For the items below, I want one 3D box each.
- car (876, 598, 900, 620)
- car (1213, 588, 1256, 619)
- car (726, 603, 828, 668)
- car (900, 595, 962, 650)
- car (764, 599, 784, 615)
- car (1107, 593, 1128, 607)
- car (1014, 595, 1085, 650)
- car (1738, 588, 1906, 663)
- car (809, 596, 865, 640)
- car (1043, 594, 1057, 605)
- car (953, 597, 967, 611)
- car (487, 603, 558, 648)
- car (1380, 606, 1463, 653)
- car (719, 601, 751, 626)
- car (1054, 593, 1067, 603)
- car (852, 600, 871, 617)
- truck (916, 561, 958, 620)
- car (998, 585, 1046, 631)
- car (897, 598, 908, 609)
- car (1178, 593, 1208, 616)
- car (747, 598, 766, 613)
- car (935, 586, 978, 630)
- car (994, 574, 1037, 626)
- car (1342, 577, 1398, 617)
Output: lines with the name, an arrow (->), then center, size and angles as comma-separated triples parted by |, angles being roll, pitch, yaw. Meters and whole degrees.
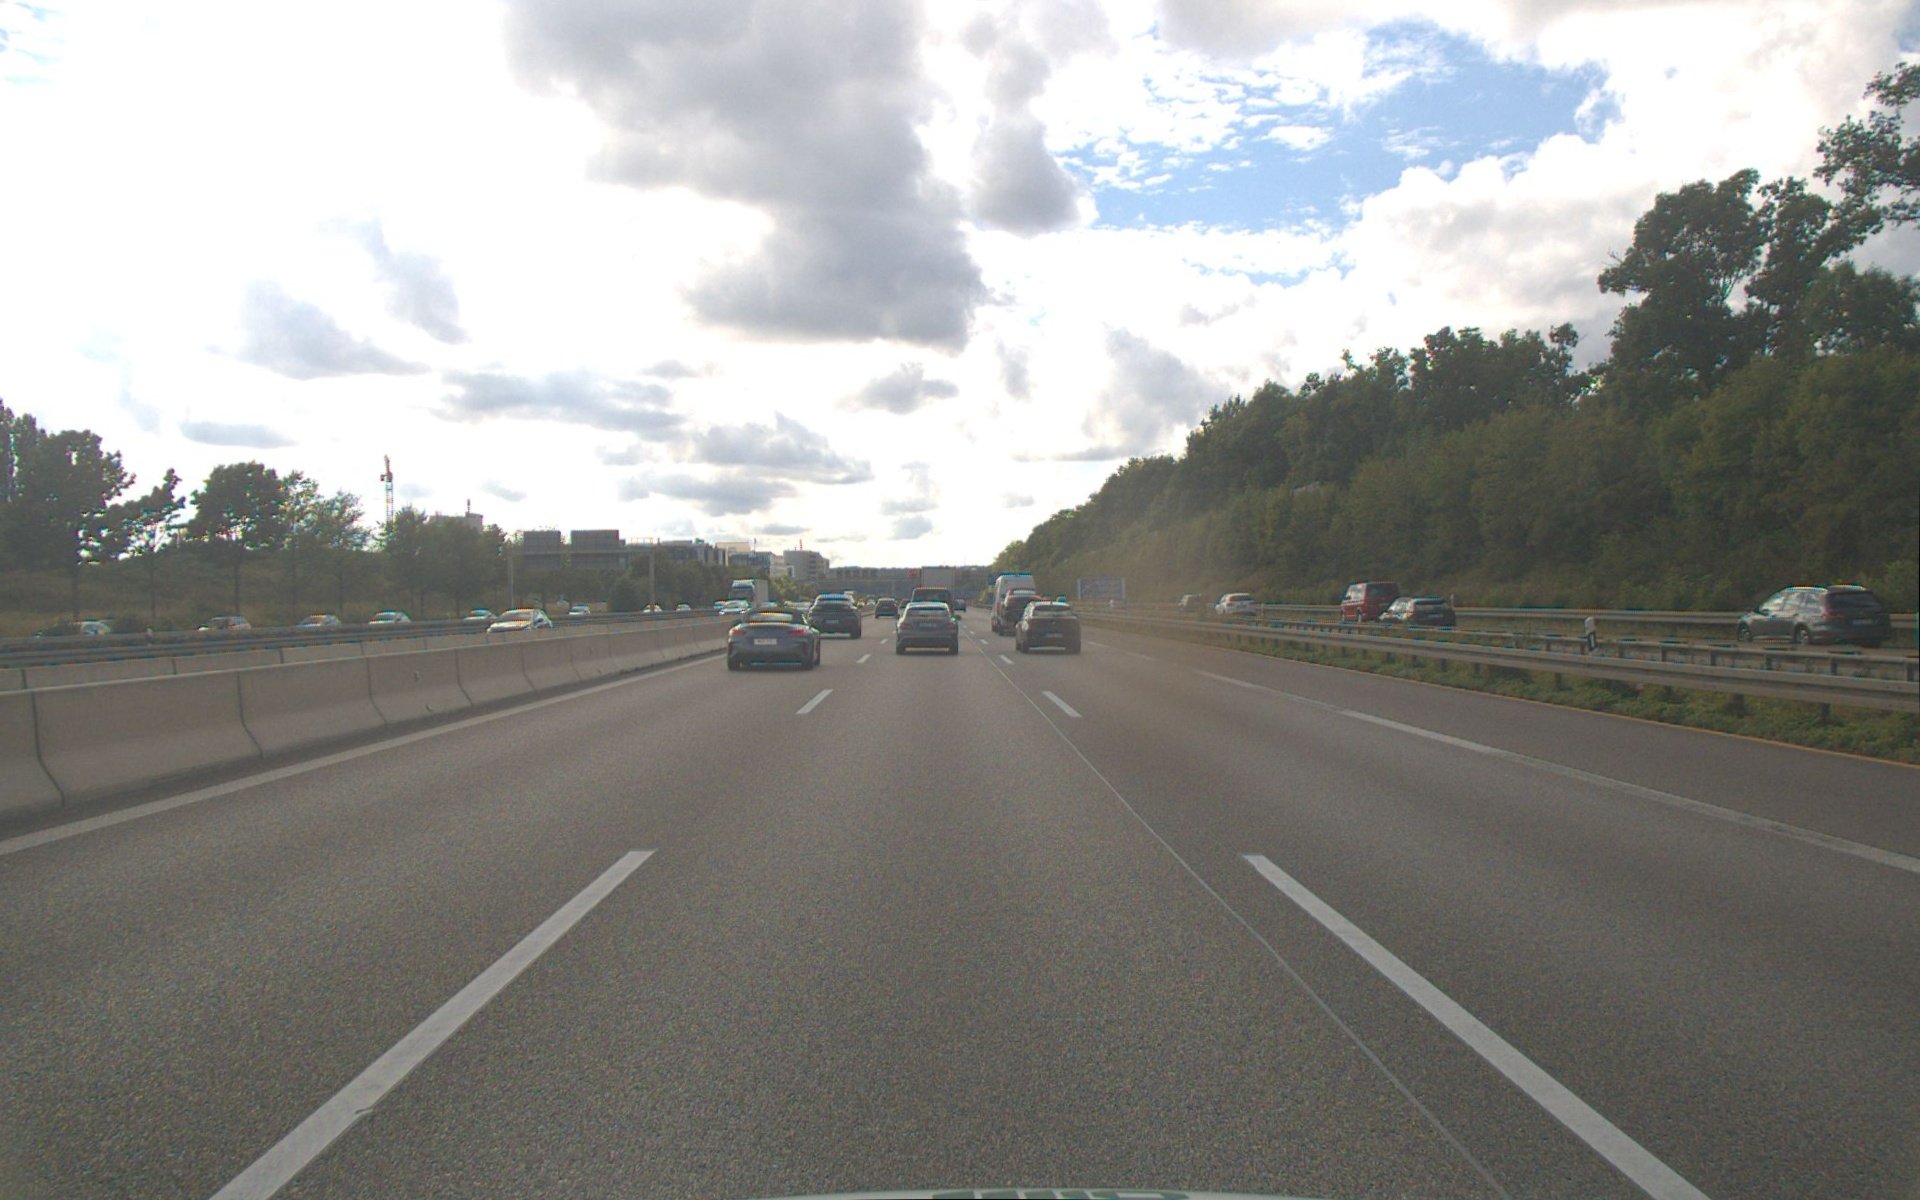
car -> -5.840, 0.745, 134.298 | 1.835, 1.728, 4.071 | 0, 0, -1
car -> 15.758, 0.178, 95.010 | 1.716, 1.725, 4.189 | 0, 0, -1
car -> -4.022, 0.739, 37.039 | 1.835, 1.325, 4.941 | 0, 0, -1
car -> -0.824, 0.599, 47.375 | 1.686, 1.505, 4.390 | 0, 0, -1
car -> -18.517, 0.680, 164.992 | 1.632, 1.583, 3.999 | 0, 0, -1
car -> 17.256, -0.026, 181.348 | 1.717, 1.543, 4.188 | 0, 0, -2
car -> 2.575, 0.632, 48.578 | 1.795, 1.547, 4.224 | 0, 0, -1
car -> 19.711, 0.548, 38.010 | 1.718, 1.624, 3.999 | 0, 0, -1
car -> -4.831, 0.689, 65.565 | 1.873, 1.664, 5.499 | 0, 0, -1
car -> 12.969, -0.058, 239.047 | 1.694, 1.560, 4.451 | -1, 0, -1
car -> -0.048, 0.533, 211.742 | 1.716, 1.725, 4.189 | 0, 0, -1
car -> -16.996, 0.961, 64.384 | 1.743, 1.674, 4.071 | 0, 0, -1
car -> 15.946, 0.995, 57.346 | 1.563, 1.573, 4.188 | 0, 0, -2
car -> -14.594, 0.877, 107.463 | 1.632, 1.583, 3.999 | 0, 0, -1
car -> 15.318, -0.246, 252.398 | 1.717, 1.543, 4.188 | 0, 0, -2
car -> -9.403, 0.800, 158.045 | 1.632, 1.583, 3.999 | 0, 0, -1
truck -> -1.818, -0.719, 130.434 | 3.197, 4.451, 11.024 | 1, 0, -1
car -> 2.649, 0.320, 71.681 | 1.874, 1.952, 4.029 | 0, 0, -1
car -> -8.719, 0.540, 252.672 | 1.632, 1.583, 3.999 | 0, 0, -1
car -> 18.108, 0.322, 128.617 | 1.716, 1.725, 4.189 | 0, 0, -1
car -> -21.427, 0.606, 174.122 | 1.633, 1.583, 3.999 | 0, 0, -2
car -> -0.175, 0.300, 68.362 | 1.686, 1.754, 4.390 | 0, 0, -1
car -> 2.605, -0.025, 78.690 | 1.835, 2.399, 4.281 | 0, 0, -1
car -> 19.147, -0.149, 77.387 | 1.563, 1.835, 3.823 | 0, 0, -2
